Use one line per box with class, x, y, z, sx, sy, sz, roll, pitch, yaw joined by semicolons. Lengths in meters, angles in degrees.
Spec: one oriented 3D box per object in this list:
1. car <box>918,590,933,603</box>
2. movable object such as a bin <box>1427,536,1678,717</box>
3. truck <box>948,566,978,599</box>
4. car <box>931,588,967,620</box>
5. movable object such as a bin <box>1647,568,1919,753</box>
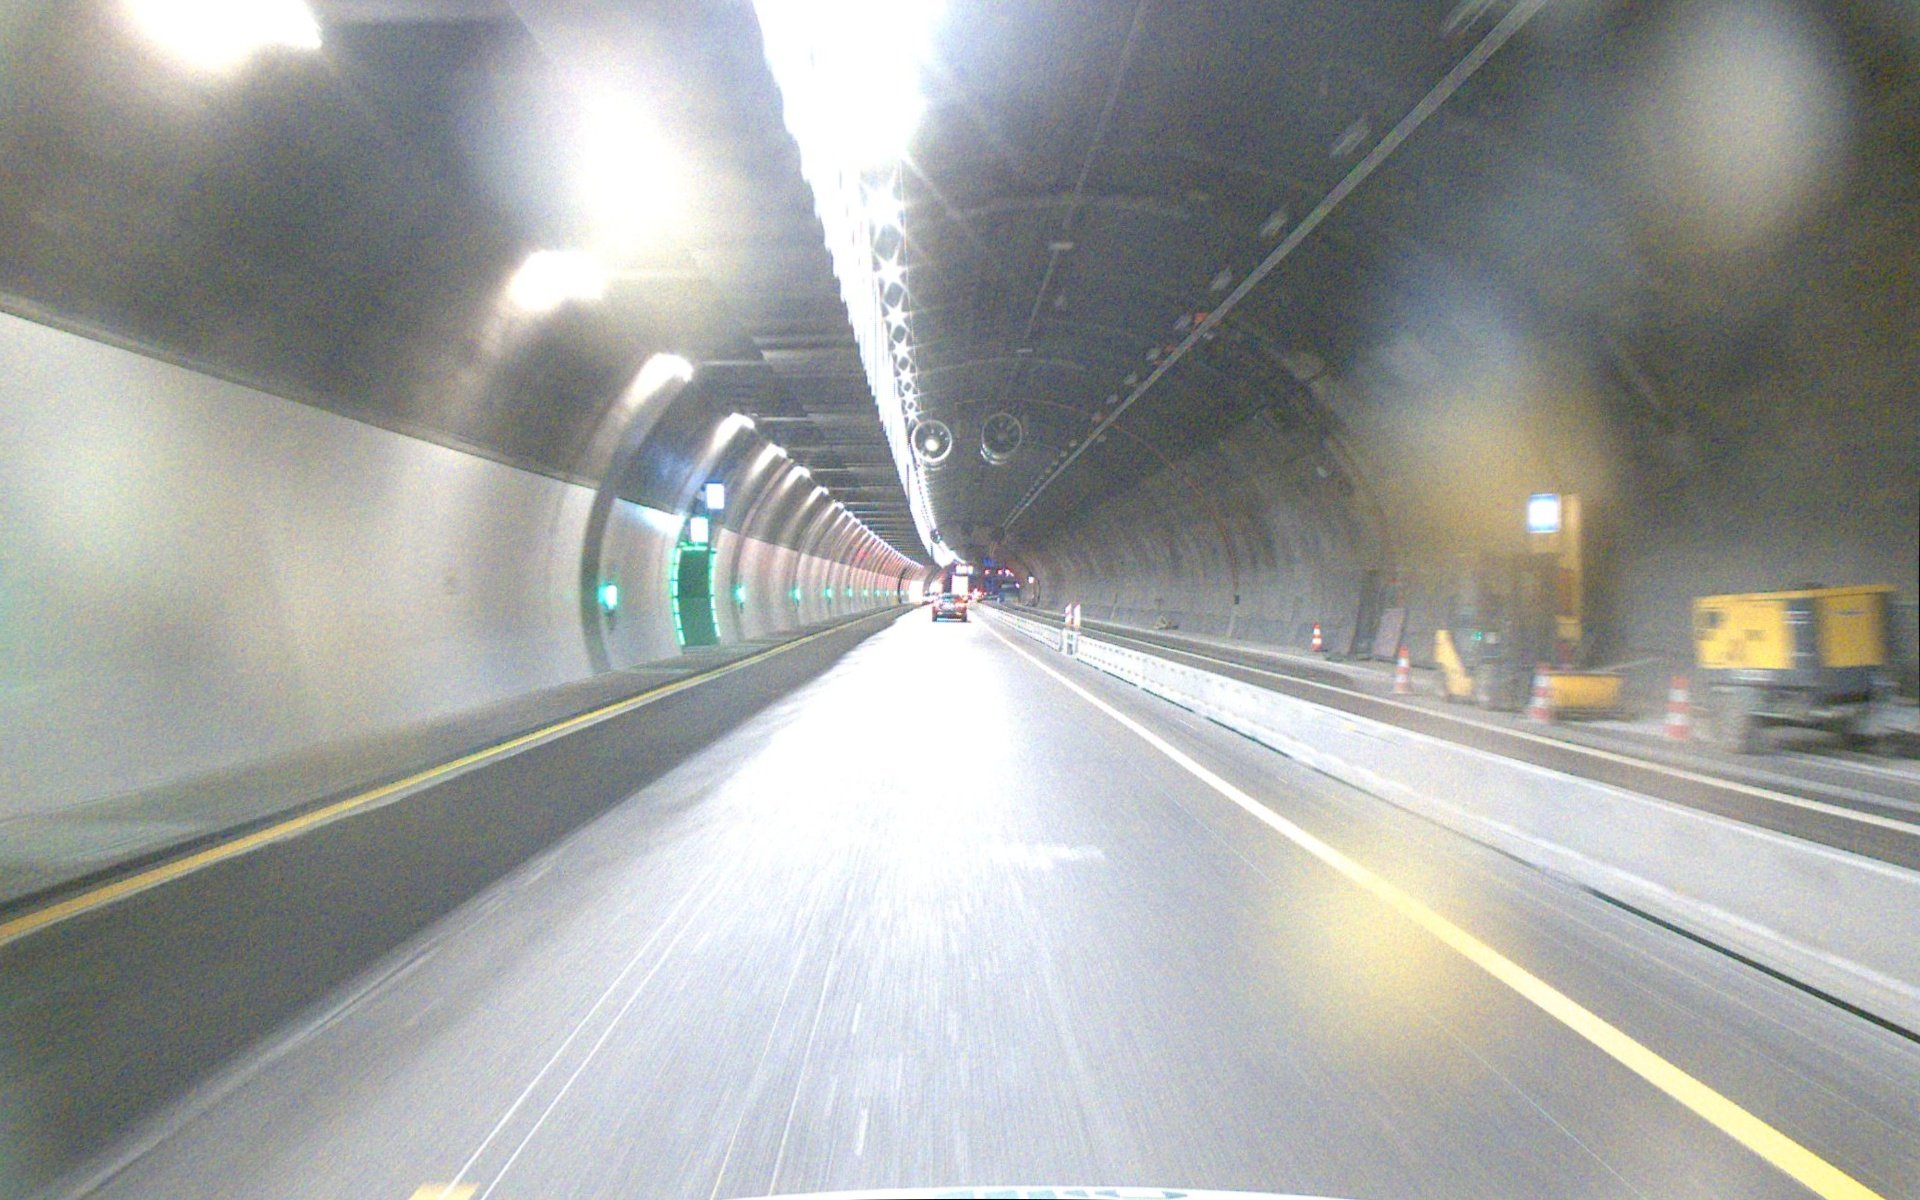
car;-4.192;-0.419;199.919;1.790;1.635;3.999;1;0;-1
movable object such as a bin;7.880;0.326;22.468;1.649;2.183;4.626;1;0;-1
truck;0.539;-2.721;261.589;4.452;5.074;9.600;1;0;1
car;-0.600;0.203;86.836;1.849;1.635;3.999;1;0;-1
movable object such as a bin;8.555;0.577;17.163;1.524;1.739;3.054;1;0;-1
